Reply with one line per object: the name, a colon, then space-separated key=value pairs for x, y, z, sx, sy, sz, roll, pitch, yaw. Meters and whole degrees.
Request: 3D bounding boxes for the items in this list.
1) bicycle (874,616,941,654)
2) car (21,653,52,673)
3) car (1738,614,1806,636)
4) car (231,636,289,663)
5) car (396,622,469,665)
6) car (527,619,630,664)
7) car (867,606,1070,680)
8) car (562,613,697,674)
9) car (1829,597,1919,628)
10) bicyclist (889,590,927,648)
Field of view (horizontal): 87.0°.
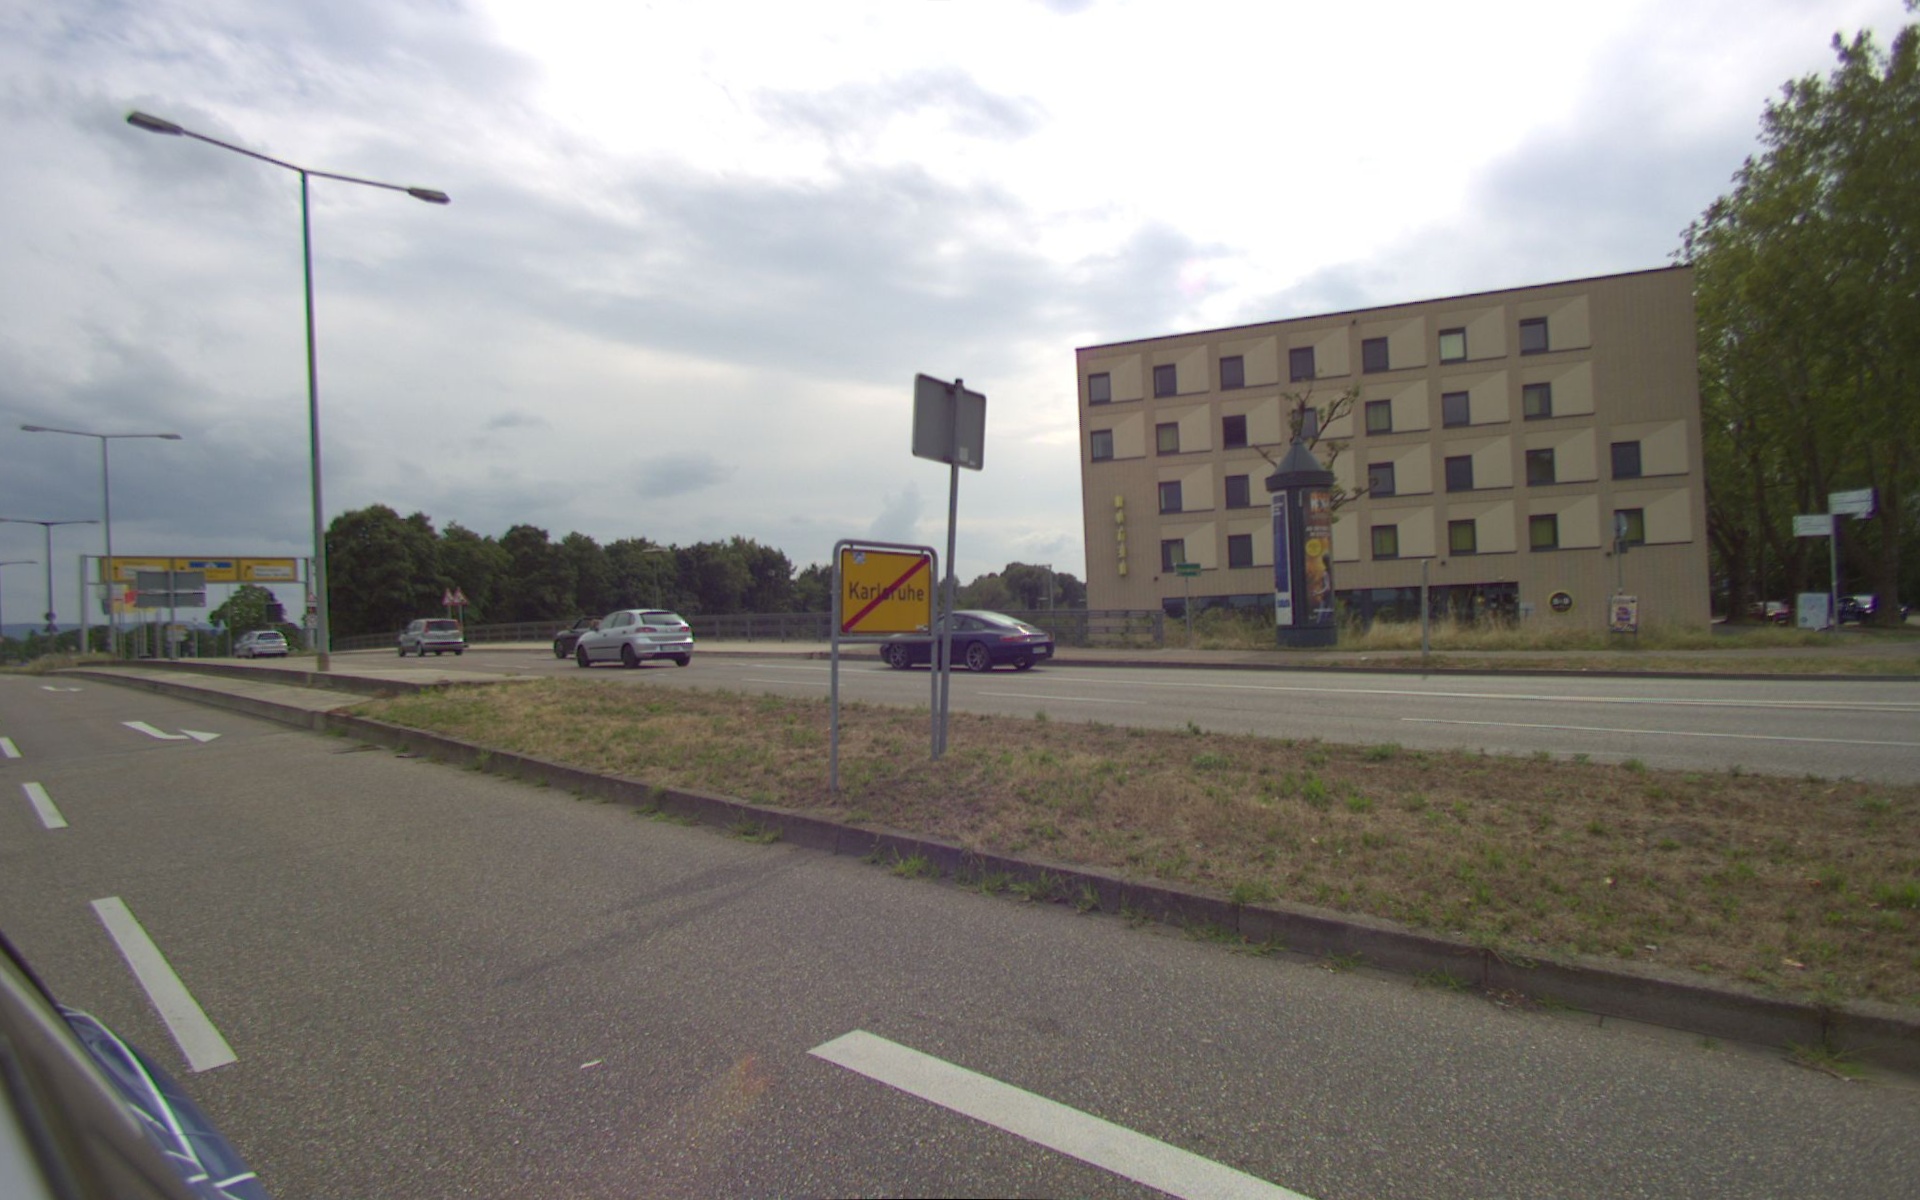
bicycle: x=-1.554 y=1.043 z=29.846 sx=1.991 sy=1.061 sz=0.678 roll=-2 pitch=-1 yaw=37
car: x=-83.678 y=5.685 z=91.697 sx=4.587 sy=1.652 sz=1.866 roll=-3 pitch=-2 yaw=45
car: x=53.072 y=1.621 z=66.237 sx=1.931 sy=1.391 sz=4.194 roll=-1 pitch=-1 yaw=15
car: x=-38.690 y=2.712 z=55.920 sx=4.028 sy=1.426 sz=1.789 roll=-2 pitch=-1 yaw=42
car: x=-22.049 y=1.781 z=42.230 sx=1.721 sy=1.671 sz=4.084 roll=1 pitch=-2 yaw=-42
car: x=-12.908 y=1.385 z=34.148 sx=3.876 sy=1.421 sz=1.723 roll=-2 pitch=-2 yaw=43
car: x=0.110 y=0.914 z=22.324 sx=4.350 sy=1.457 sz=1.802 roll=-2 pitch=-1 yaw=41
car: x=-8.416 y=1.074 z=25.621 sx=3.861 sy=1.421 sz=1.598 roll=-2 pitch=-2 yaw=43
car: x=49.142 y=0.655 z=54.292 sx=1.930 sy=1.572 sz=4.444 roll=-1 pitch=-1 yaw=13
bicyclist: x=-1.527 y=0.559 z=29.828 sx=0.846 sy=1.684 sz=0.678 roll=-2 pitch=-1 yaw=37
